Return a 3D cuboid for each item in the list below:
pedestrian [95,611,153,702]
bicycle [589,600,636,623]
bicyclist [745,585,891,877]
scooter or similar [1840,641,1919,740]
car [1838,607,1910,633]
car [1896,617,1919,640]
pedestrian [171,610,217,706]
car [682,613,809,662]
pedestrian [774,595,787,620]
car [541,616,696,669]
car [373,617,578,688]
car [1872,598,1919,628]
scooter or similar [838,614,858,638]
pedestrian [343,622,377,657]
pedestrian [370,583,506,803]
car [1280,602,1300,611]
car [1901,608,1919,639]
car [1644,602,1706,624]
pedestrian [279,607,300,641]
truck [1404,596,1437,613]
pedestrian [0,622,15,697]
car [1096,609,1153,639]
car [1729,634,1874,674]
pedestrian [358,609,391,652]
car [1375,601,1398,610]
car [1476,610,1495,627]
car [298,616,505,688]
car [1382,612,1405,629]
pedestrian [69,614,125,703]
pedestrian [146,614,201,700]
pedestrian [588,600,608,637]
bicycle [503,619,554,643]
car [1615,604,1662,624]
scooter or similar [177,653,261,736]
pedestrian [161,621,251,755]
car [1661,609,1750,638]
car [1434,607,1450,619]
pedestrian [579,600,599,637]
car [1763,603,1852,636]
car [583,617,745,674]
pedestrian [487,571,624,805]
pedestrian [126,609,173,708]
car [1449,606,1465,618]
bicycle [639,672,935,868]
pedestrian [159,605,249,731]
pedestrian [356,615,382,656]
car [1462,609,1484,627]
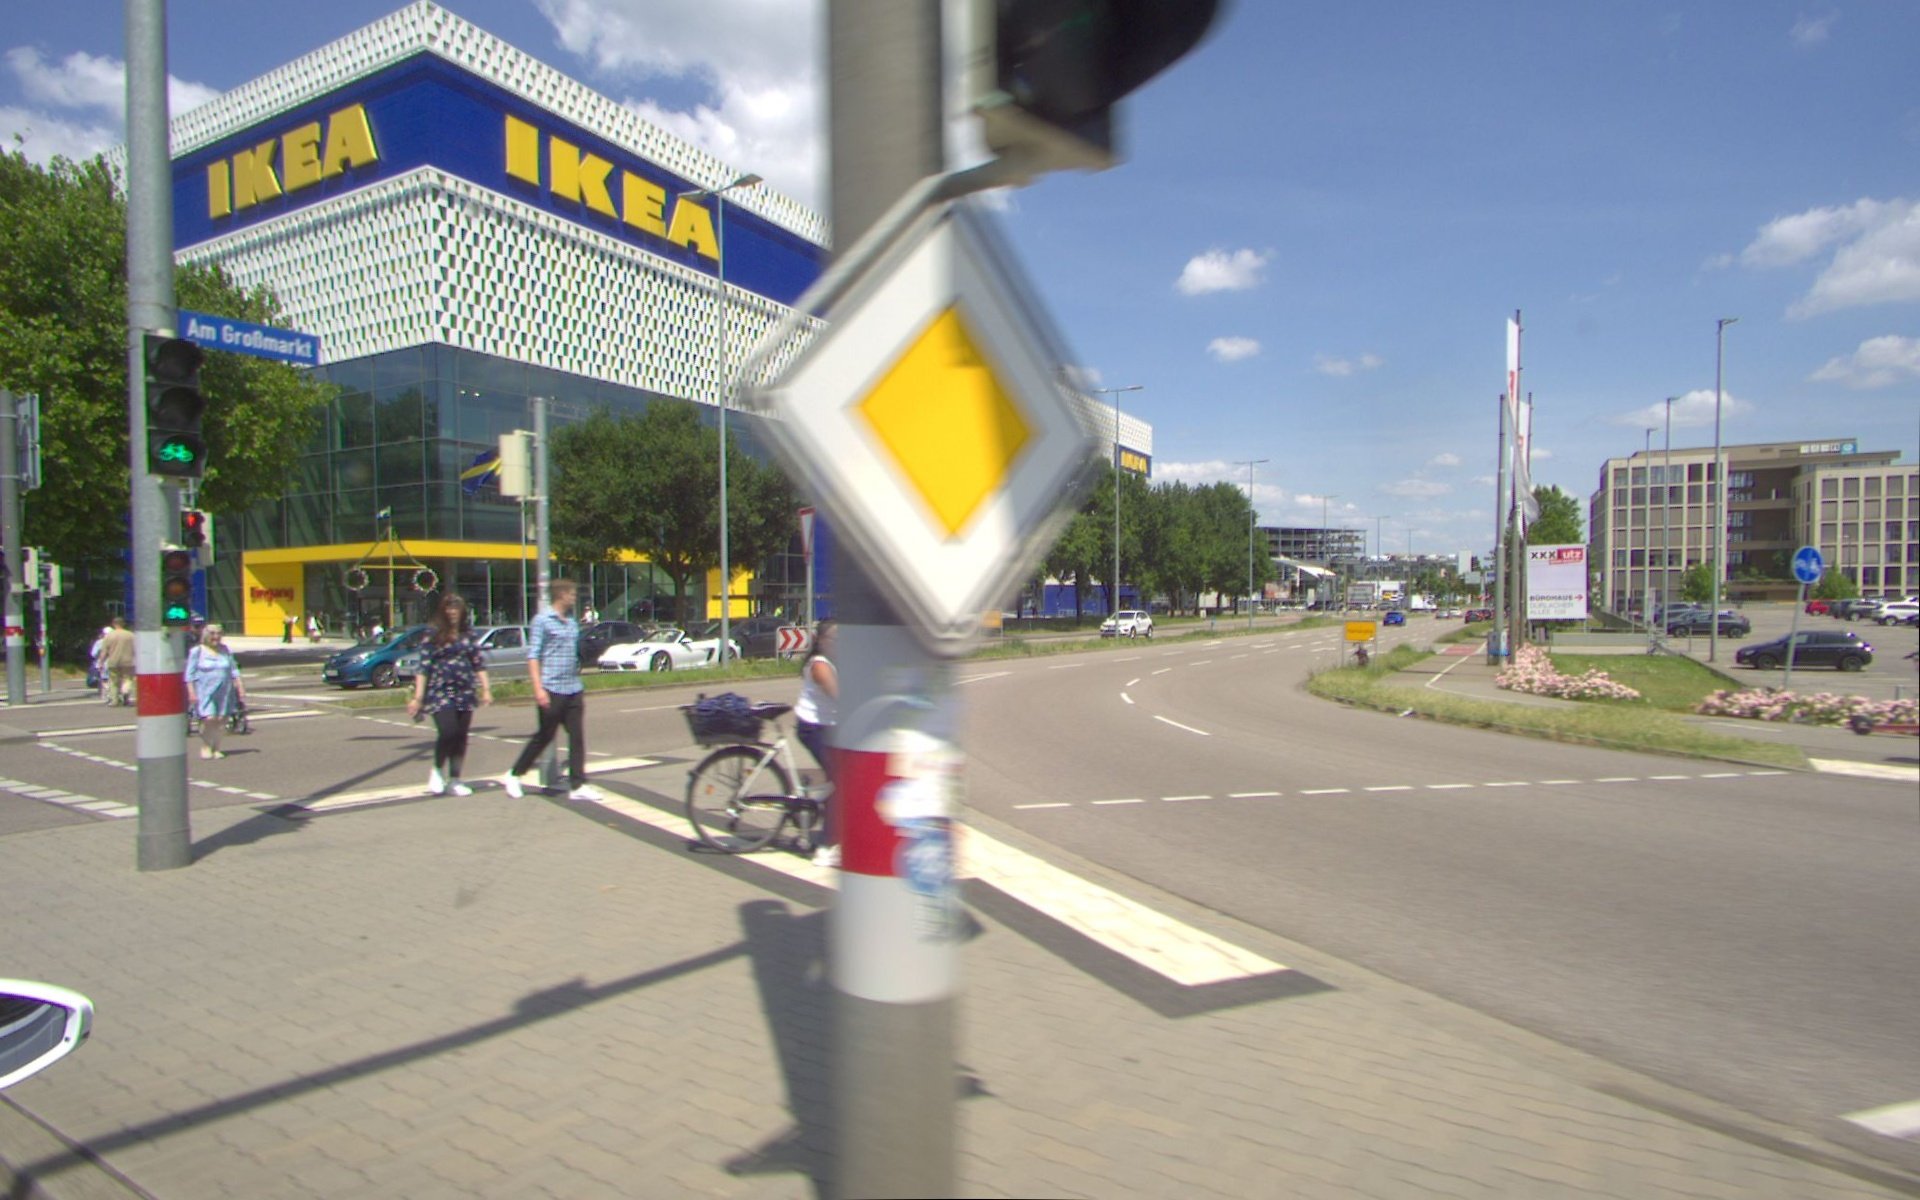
[{"bbox_3d":[-15.890,1.054,19.025,0.790,1.681,0.844,0,0,-44],"label":"pedestrian"},{"bbox_3d":[-18.780,0.629,54.169,2.389,1.214,0.801,0,0,16],"label":"bicycle"},{"bbox_3d":[-0.874,0.790,6.368,0.783,1.722,0.817,-1,-1,0],"label":"bicyclist"},{"bbox_3d":[12.954,1.233,13.744,0.475,1.307,1.268,0,-1,-41],"label":"scooter or similar"},{"bbox_3d":[72.939,1.603,79.999,3.942,2.040,1.990,-1,-1,32],"label":"car"},{"bbox_3d":[61.699,1.799,62.723,4.196,1.430,1.850,-1,-1,33],"label":"car"},{"bbox_3d":[-13.657,1.015,17.841,0.598,1.658,0.857,0,-1,-41],"label":"pedestrian"},{"bbox_3d":[-7.371,1.273,34.880,1.836,1.605,4.393,-1,-1,31],"label":"car"},{"bbox_3d":[-11.849,0.501,66.103,0.570,1.607,0.766,0,0,24],"label":"pedestrian"},{"bbox_3d":[-10.245,1.244,30.376,1.825,1.462,4.397,-1,-1,28],"label":"car"},{"bbox_3d":[-10.700,1.099,22.366,1.777,1.415,3.819,0,-1,30],"label":"car"},{"bbox_3d":[66.976,0.931,70.436,3.942,2.040,1.538,-1,-1,32],"label":"car"},{"bbox_3d":[-6.471,1.492,57.902,1.119,1.337,0.400,0,0,32],"label":"scooter or similar"},{"bbox_3d":[-23.472,1.517,39.161,0.784,1.349,0.850,0,0,22],"label":"pedestrian"},{"bbox_3d":[-4.524,0.765,8.688,0.787,1.782,0.800,0,-1,38],"label":"pedestrian"},{"bbox_3d":[63.719,1.217,193.187,3.494,1.633,1.793,-1,-1,29],"label":"car"},{"bbox_3d":[65.235,1.525,66.285,3.943,2.040,1.990,-1,-1,32],"label":"car"},{"bbox_3d":[56.800,1.068,79.596,3.946,1.706,1.988,-1,-1,35],"label":"car"},{"bbox_3d":[-35.689,1.266,53.288,0.733,1.759,0.777,0,0,41],"label":"pedestrian"},{"bbox_3d":[78.401,0.748,170.620,4.825,2.826,1.998,0,0,-12],"label":"truck"},{"bbox_3d":[-20.799,1.269,21.568,0.603,1.600,0.526,0,0,33],"label":"pedestrian"},{"bbox_3d":[9.665,1.386,58.622,1.970,1.661,4.063,0,0,30],"label":"car"},{"bbox_3d":[31.379,1.996,37.499,3.885,1.394,1.846,-1,-1,31],"label":"car"},{"bbox_3d":[-22.701,1.173,38.852,0.623,1.607,0.918,0,0,24],"label":"pedestrian"},{"bbox_3d":[81.272,1.045,191.016,3.622,1.633,1.800,0,-1,5],"label":"car"},{"bbox_3d":[65.479,2.341,124.768,1.970,2.040,3.981,-1,-1,30],"label":"car"},{"bbox_3d":[-13.408,1.200,24.276,1.969,1.576,3.985,-1,-1,28],"label":"car"},{"bbox_3d":[42.554,2.018,98.273,1.735,1.632,3.532,-1,-1,30],"label":"car"},{"bbox_3d":[-16.859,1.117,19.556,0.790,1.681,0.844,0,0,-44],"label":"pedestrian"},{"bbox_3d":[-15.767,1.116,20.070,0.790,1.681,0.844,0,0,-44],"label":"pedestrian"},{"bbox_3d":[-20.387,1.026,56.459,0.723,2.040,0.794,0,0,37],"label":"pedestrian"},{"bbox_3d":[-21.564,1.558,50.066,2.389,1.160,0.801,0,-1,16],"label":"bicycle"},{"bbox_3d":[70.725,1.515,104.389,3.942,2.040,1.990,-1,-1,32],"label":"car"},{"bbox_3d":[-10.117,1.269,13.671,0.851,1.044,0.687,-1,0,35],"label":"scooter or similar"},{"bbox_3d":[-8.742,0.996,11.613,0.795,1.495,0.588,-1,-1,33],"label":"pedestrian"},{"bbox_3d":[45.198,1.452,60.800,4.060,1.706,1.992,-1,-1,28],"label":"car"},{"bbox_3d":[64.701,1.741,134.345,1.735,1.632,3.532,-1,-1,30],"label":"car"},{"bbox_3d":[-21.133,1.047,57.008,0.724,2.040,0.793,0,0,41],"label":"pedestrian"},{"bbox_3d":[53.305,1.238,63.078,3.942,2.040,1.990,-1,-1,31],"label":"car"},{"bbox_3d":[-7.986,1.172,27.385,1.777,1.416,4.214,0,-1,30],"label":"car"},{"bbox_3d":[-3.493,0.724,8.656,0.786,1.889,0.801,0,0,34],"label":"pedestrian"},{"bbox_3d":[-14.091,1.004,17.399,0.601,1.658,0.857,0,-1,-41],"label":"pedestrian"},{"bbox_3d":[71.494,1.720,144.008,1.735,1.632,3.532,-1,-1,30],"label":"car"},{"bbox_3d":[-1.103,1.106,6.747,1.842,1.177,0.832,-1,-1,-1],"label":"bicycle"},{"bbox_3d":[-10.581,0.922,14.021,0.934,1.694,0.779,0,0,36],"label":"pedestrian"},{"bbox_3d":[-23.293,1.384,39.474,0.623,1.607,0.609,0,0,24],"label":"pedestrian"},{"bbox_3d":[56.931,1.997,111.061,1.970,2.040,3.981,-1,-1,30],"label":"car"}]
